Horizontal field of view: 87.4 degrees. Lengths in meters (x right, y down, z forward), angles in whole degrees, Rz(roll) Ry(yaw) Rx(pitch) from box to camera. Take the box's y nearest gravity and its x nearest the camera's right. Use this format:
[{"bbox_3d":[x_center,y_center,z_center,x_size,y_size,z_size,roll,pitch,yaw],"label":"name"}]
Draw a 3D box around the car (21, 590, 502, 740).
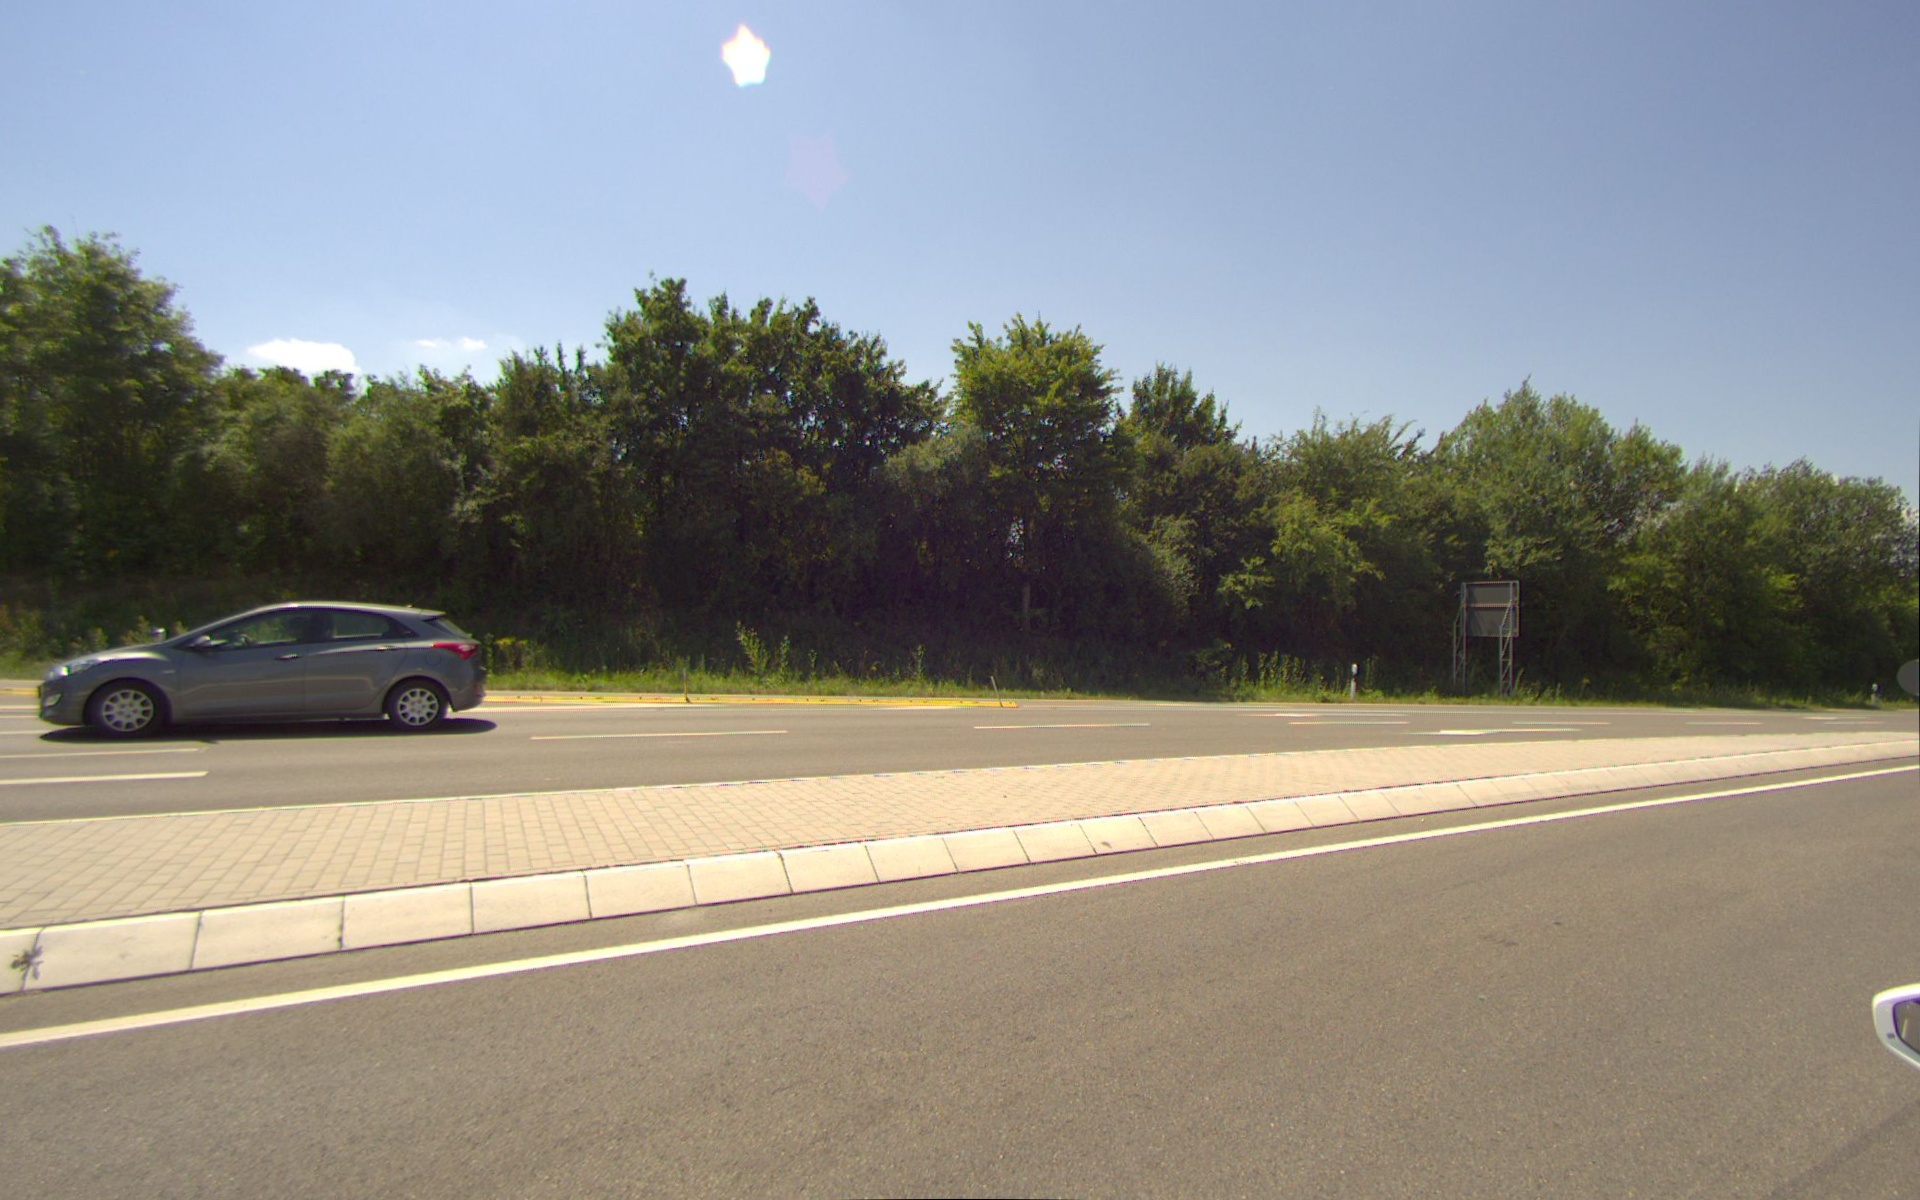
[{"bbox_3d":[-7.716,0.695,11.644,4.275,1.475,1.685,2,0,-28],"label":"car"}]
